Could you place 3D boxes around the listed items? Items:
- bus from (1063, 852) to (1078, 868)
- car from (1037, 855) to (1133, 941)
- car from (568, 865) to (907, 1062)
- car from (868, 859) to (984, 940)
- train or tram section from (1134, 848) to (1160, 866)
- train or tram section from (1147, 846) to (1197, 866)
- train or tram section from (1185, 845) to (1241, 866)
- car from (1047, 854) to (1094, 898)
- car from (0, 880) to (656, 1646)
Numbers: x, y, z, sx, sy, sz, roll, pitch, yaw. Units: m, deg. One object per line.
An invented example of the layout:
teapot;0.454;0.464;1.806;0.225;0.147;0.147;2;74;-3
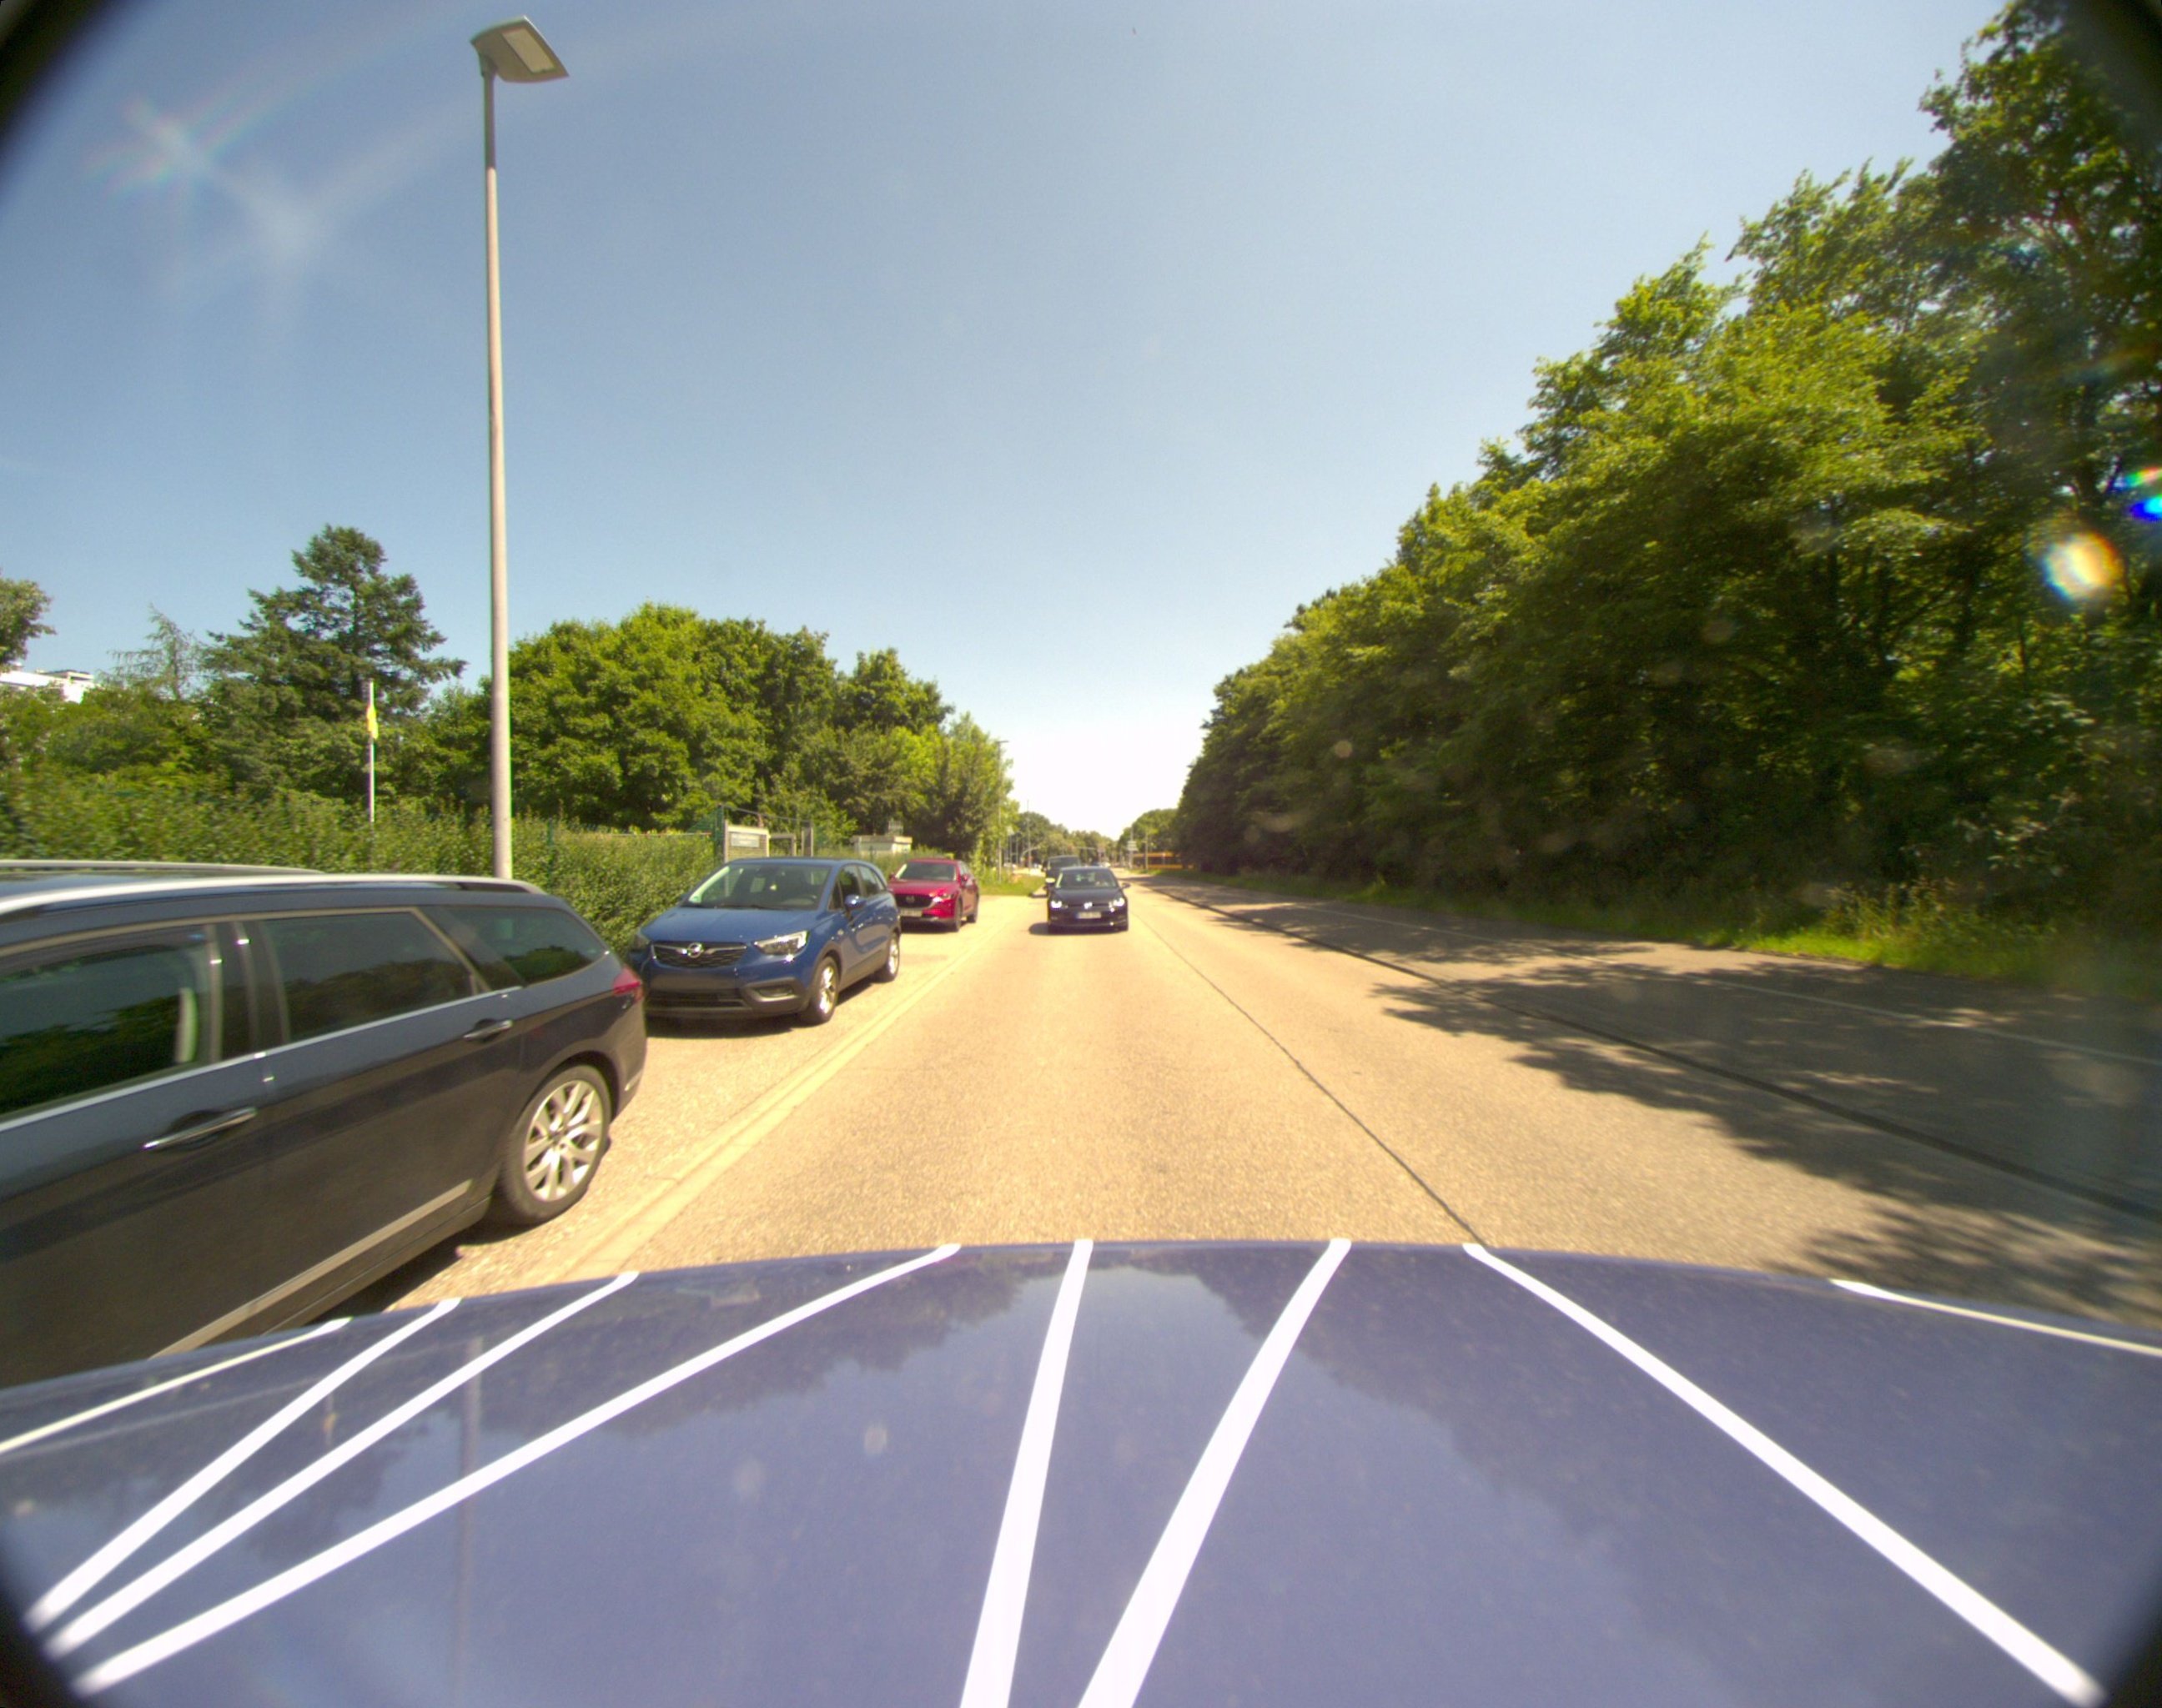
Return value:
bus;-2.174;1.252;156.926;2.931;3.248;8.329;-2;0;-1
car;0.082;0.932;18.138;1.887;1.667;4.662;-4;0;0
car;-3.255;0.916;8.226;1.794;1.594;4.130;0;-1;0
car;-3.559;0.985;18.302;1.794;1.648;4.452;2;0;0
train or tram section;13.031;0.568;150.025;2.579;3.445;10.846;-1;0;-9
train or tram section;16.629;0.480;140.275;2.656;3.445;10.828;-2;0;-33
train or tram section;23.276;0.305;133.990;9.327;3.445;2.788;-2;0;31
car;-0.582;1.039;37.246;2.002;1.965;4.449;-1;0;-4
car;-3.137;0.891;1.624;1.794;1.473;4.665;2;0;0
